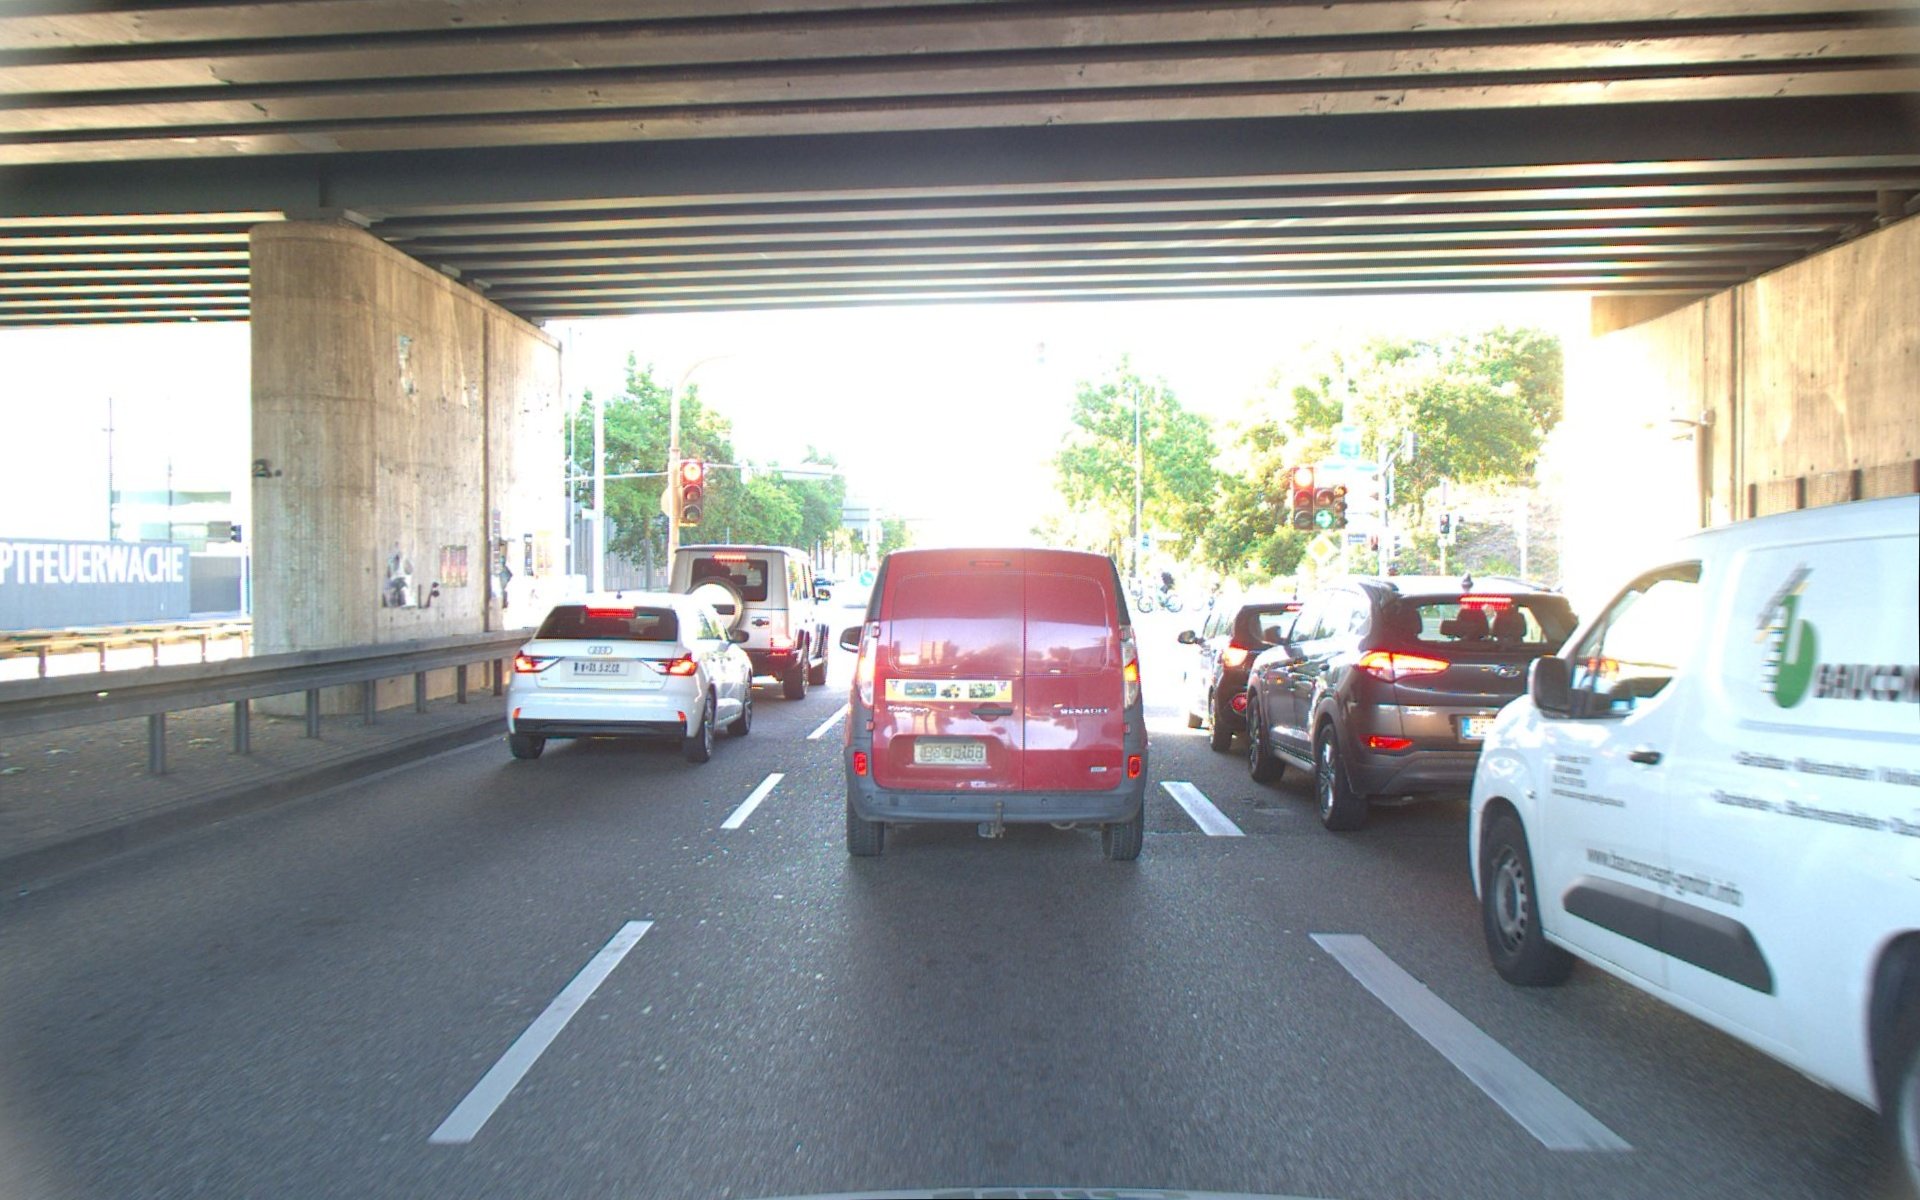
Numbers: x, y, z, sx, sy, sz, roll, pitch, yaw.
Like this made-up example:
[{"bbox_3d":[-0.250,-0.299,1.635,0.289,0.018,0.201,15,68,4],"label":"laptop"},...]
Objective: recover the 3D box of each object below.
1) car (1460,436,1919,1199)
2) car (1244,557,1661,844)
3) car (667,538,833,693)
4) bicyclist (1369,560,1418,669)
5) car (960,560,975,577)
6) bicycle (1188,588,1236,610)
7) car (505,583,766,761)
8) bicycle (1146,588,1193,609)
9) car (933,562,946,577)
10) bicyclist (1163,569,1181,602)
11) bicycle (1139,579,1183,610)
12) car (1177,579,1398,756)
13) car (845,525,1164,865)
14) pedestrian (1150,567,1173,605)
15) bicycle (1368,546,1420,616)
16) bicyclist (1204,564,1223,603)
[{"bbox_3d":[3.109,0.557,5.059,1.776,1.865,4.299,1,0,-1],"label":"car"},{"bbox_3d":[3.310,0.592,11.948,1.742,1.684,3.990,1,0,-1],"label":"car"},{"bbox_3d":[-2.808,0.192,22.880,1.776,1.937,3.813,1,0,0],"label":"car"},{"bbox_3d":[6.704,0.221,25.625,0.663,1.657,0.644,1,-1,11],"label":"bicyclist"},{"bbox_3d":[0.988,-4.269,224.875,1.952,2.049,4.000,1,0,1],"label":"car"},{"bbox_3d":[10.397,-0.034,68.395,1.912,0.889,0.700,0,0,4],"label":"bicycle"},{"bbox_3d":[-2.894,0.587,15.504,1.658,1.435,3.813,1,0,0],"label":"car"},{"bbox_3d":[8.862,-0.078,69.907,1.875,0.882,0.605,0,0,-3],"label":"bicycle"},{"bbox_3d":[-3.208,-4.731,257.036,1.952,2.049,4.000,1,0,1],"label":"car"},{"bbox_3d":[8.978,-0.612,69.945,0.639,1.352,0.602,1,-1,-3],"label":"bicyclist"},{"bbox_3d":[8.238,-0.242,67.716,1.696,1.255,0.557,0,0,-6],"label":"bicycle"},{"bbox_3d":[3.290,0.604,17.275,1.618,1.579,3.865,1,1,2],"label":"car"},{"bbox_3d":[0.261,0.506,10.899,1.683,1.795,4.000,1,0,1],"label":"car"},{"bbox_3d":[8.241,-0.572,67.713,0.820,1.581,0.556,0,0,-6],"label":"pedestrian"},{"bbox_3d":[6.716,-0.278,25.627,0.662,1.042,1.530,1,0,11],"label":"bicycle"},{"bbox_3d":[10.487,-0.680,68.396,0.739,1.569,0.697,0,0,4],"label":"bicyclist"}]
